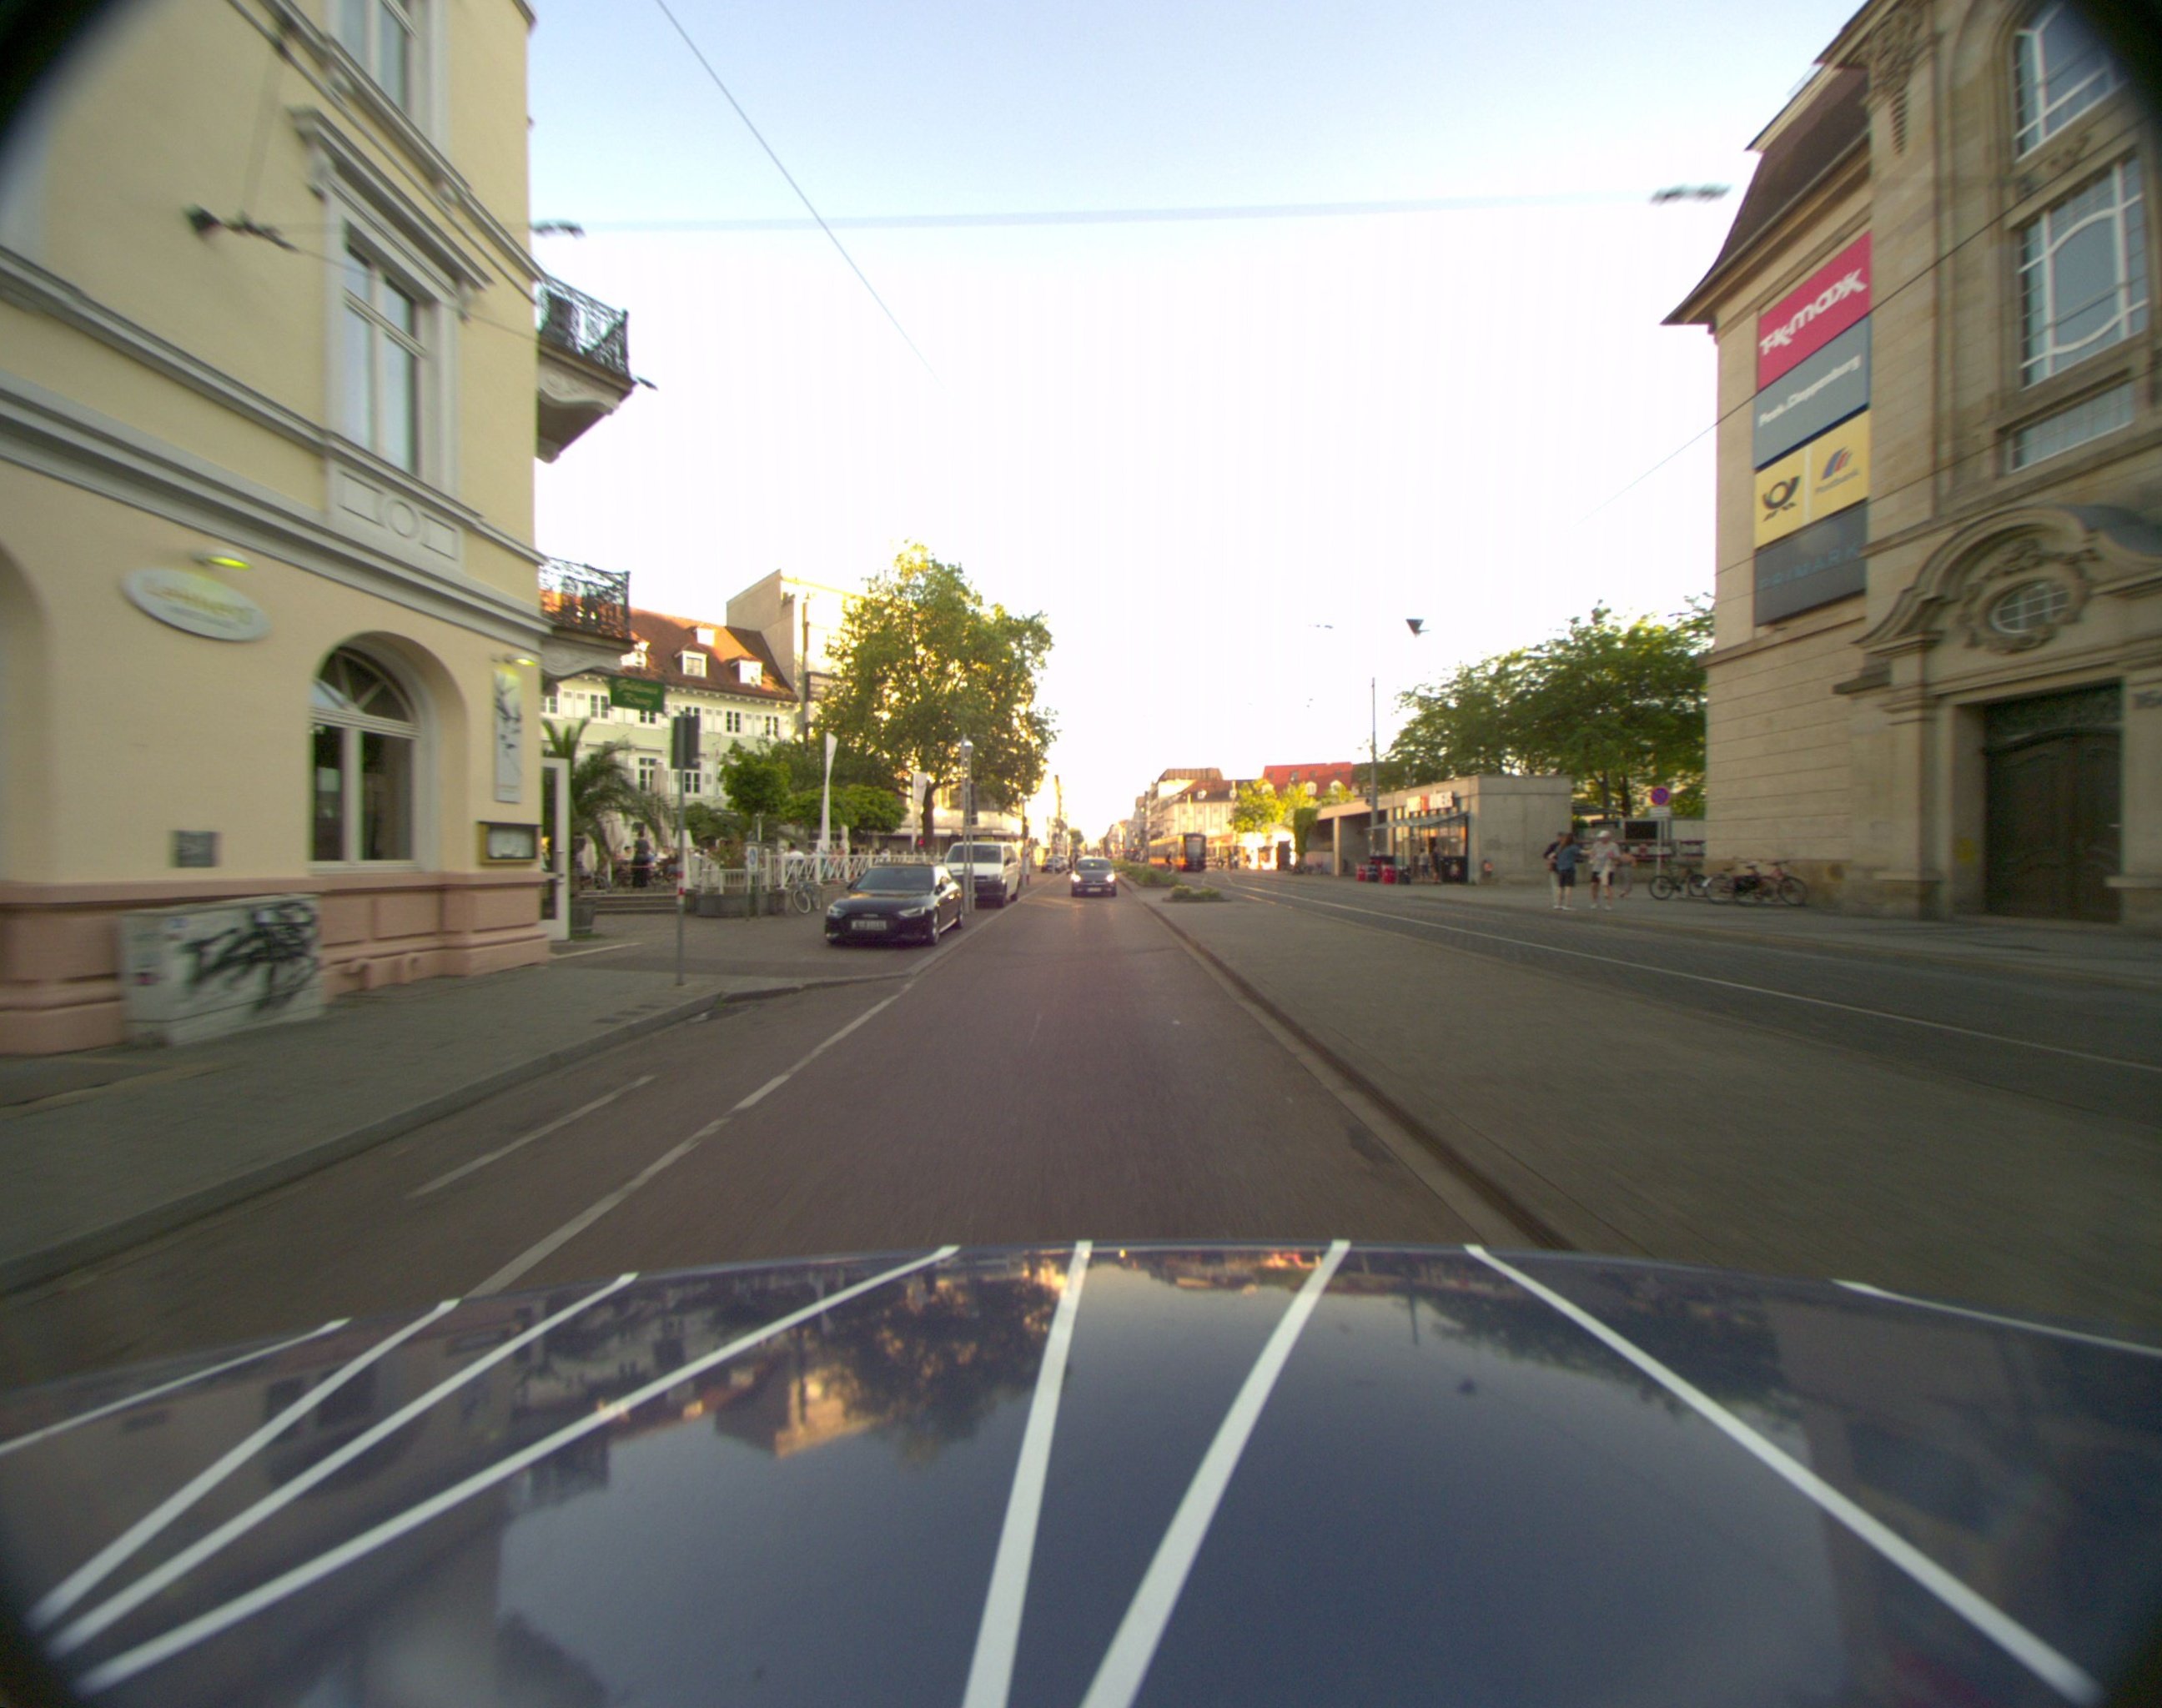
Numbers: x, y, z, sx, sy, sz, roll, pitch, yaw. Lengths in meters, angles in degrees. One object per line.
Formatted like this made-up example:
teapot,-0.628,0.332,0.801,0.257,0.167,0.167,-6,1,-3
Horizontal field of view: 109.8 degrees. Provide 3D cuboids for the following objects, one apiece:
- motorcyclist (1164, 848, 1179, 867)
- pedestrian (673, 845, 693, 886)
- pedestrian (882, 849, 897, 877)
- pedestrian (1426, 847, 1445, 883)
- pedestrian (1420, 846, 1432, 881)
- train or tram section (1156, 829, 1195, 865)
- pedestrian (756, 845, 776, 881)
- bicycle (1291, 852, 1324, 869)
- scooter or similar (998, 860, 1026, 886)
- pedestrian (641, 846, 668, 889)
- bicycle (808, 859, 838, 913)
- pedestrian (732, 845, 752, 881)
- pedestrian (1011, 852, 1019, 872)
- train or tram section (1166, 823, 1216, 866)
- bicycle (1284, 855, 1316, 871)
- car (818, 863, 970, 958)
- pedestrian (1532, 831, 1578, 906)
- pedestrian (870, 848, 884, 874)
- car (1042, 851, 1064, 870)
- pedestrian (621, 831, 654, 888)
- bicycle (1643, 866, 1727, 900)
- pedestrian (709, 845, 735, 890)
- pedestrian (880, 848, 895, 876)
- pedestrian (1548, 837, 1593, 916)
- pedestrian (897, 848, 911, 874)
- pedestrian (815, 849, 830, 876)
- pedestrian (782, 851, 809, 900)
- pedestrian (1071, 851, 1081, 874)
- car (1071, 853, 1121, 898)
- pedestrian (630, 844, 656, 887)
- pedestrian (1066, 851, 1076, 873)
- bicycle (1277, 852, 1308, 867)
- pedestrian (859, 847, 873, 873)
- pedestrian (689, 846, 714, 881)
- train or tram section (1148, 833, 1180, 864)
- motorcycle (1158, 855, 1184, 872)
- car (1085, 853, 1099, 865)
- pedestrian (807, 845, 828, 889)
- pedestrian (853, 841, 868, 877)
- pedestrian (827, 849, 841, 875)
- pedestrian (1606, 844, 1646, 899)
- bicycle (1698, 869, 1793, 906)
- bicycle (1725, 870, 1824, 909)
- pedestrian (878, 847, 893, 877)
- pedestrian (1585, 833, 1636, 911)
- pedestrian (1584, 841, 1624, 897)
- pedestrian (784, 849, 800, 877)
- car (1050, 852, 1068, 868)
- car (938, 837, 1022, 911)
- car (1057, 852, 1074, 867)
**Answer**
motorcyclist,6.940,0.235,58.275,0.800,1.431,0.799,-2,1,-17
pedestrian,-12.368,0.363,23.624,0.491,1.259,0.531,-1,1,-23
pedestrian,-8.960,0.419,35.582,0.532,1.289,0.491,0,1,1
pedestrian,16.252,0.487,34.809,0.563,1.643,0.552,-2,1,-5
pedestrian,16.678,0.451,36.733,0.394,1.643,0.401,-2,1,-5
train or tram section,10.372,-0.695,84.890,2.902,3.664,11.983,-1,0,0
pedestrian,-11.655,0.343,28.134,0.532,1.325,0.491,0,1,1
bicycle,16.175,0.456,54.284,2.131,1.153,0.692,-1,1,2
scooter or similar,-3.401,0.924,37.507,1.345,1.225,0.535,1,1,-2
pedestrian,-13.791,0.443,24.575,0.590,1.369,0.532,-1,1,-6
bicycle,-6.896,0.844,20.337,0.344,1.383,1.291,-1,0,0
pedestrian,-12.624,0.323,28.316,0.490,1.325,0.532,0,1,1
pedestrian,-5.201,0.621,59.856,0.638,1.616,0.519,-1,2,-10
train or tram section,10.250,-0.783,72.212,2.902,3.664,13.481,-1,0,0
bicycle,16.148,0.670,56.054,2.131,1.153,0.692,-1,1,2
car,-3.320,0.927,14.378,1.701,1.382,4.547,1,1,0
pedestrian,11.109,0.344,17.818,0.650,1.726,0.594,1,0,-9
pedestrian,-10.035,0.336,37.392,0.532,1.289,0.491,0,1,1
car,-2.515,0.585,68.773,1.771,1.565,3.999,2,1,1
pedestrian,-13.297,0.168,22.805,0.590,1.682,0.732,-1,1,-6
bicycle,16.839,0.790,21.198,1.839,0.863,0.635,-2,1,-1
pedestrian,-10.846,0.408,22.957,0.532,1.325,0.491,0,1,1
pedestrian,-8.905,0.358,34.921,0.532,1.289,0.491,0,1,1
pedestrian,10.960,0.490,17.021,0.483,1.726,0.679,1,1,-30
pedestrian,-8.898,0.352,38.195,0.532,1.325,0.491,0,1,1
pedestrian,-12.444,0.387,36.549,0.532,1.289,0.491,0,1,1
pedestrian,-7.625,0.564,20.311,0.532,1.288,0.491,0,1,1
pedestrian,-0.344,0.630,55.046,0.638,1.616,0.519,-1,2,-10
car,0.552,0.758,28.680,1.738,1.495,3.999,-2,1,1
pedestrian,-13.805,0.349,23.946,0.490,1.325,0.532,0,1,1
pedestrian,-0.753,0.588,55.932,0.638,1.616,0.519,-1,2,-10
bicycle,16.021,0.418,57.642,2.131,1.153,0.692,-1,1,2
pedestrian,-10.640,0.304,37.594,0.532,1.289,0.491,0,1,1
pedestrian,-14.755,0.371,29.569,0.628,1.325,0.664,0,1,1
train or tram section,10.442,-0.673,96.310,2.902,3.664,10.785,-1,0,0
motorcycle,6.869,0.735,58.249,1.780,1.230,0.805,-2,1,-15
car,1.423,0.692,99.923,1.810,1.474,4.283,-3,0,0
pedestrian,-7.785,0.380,22.464,0.532,1.288,0.490,-1,1,-15
pedestrian,-9.482,0.226,32.671,0.490,1.549,0.532,0,1,1
pedestrian,-12.399,0.390,38.172,0.532,1.289,0.491,0,1,1
pedestrian,15.705,0.495,21.911,0.661,1.553,0.679,-1,1,-3
bicycle,16.725,0.838,19.144,1.839,0.863,0.635,-2,1,-1
bicycle,16.785,0.845,18.420,1.839,0.863,0.635,-2,1,-1
pedestrian,-8.813,0.353,34.347,0.532,1.325,0.491,0,1,1
pedestrian,12.011,0.403,17.251,0.675,1.726,0.681,1,0,6
pedestrian,14.998,0.425,21.796,0.661,1.553,0.679,-1,1,-3
pedestrian,-13.349,0.409,35.162,0.532,1.289,0.491,0,1,1
car,-2.375,0.659,83.218,1.771,1.565,3.999,2,1,1
car,-2.995,0.531,23.683,1.857,2.055,5.215,0,1,1
car,-1.835,0.627,88.977,1.771,1.565,3.999,2,1,1
